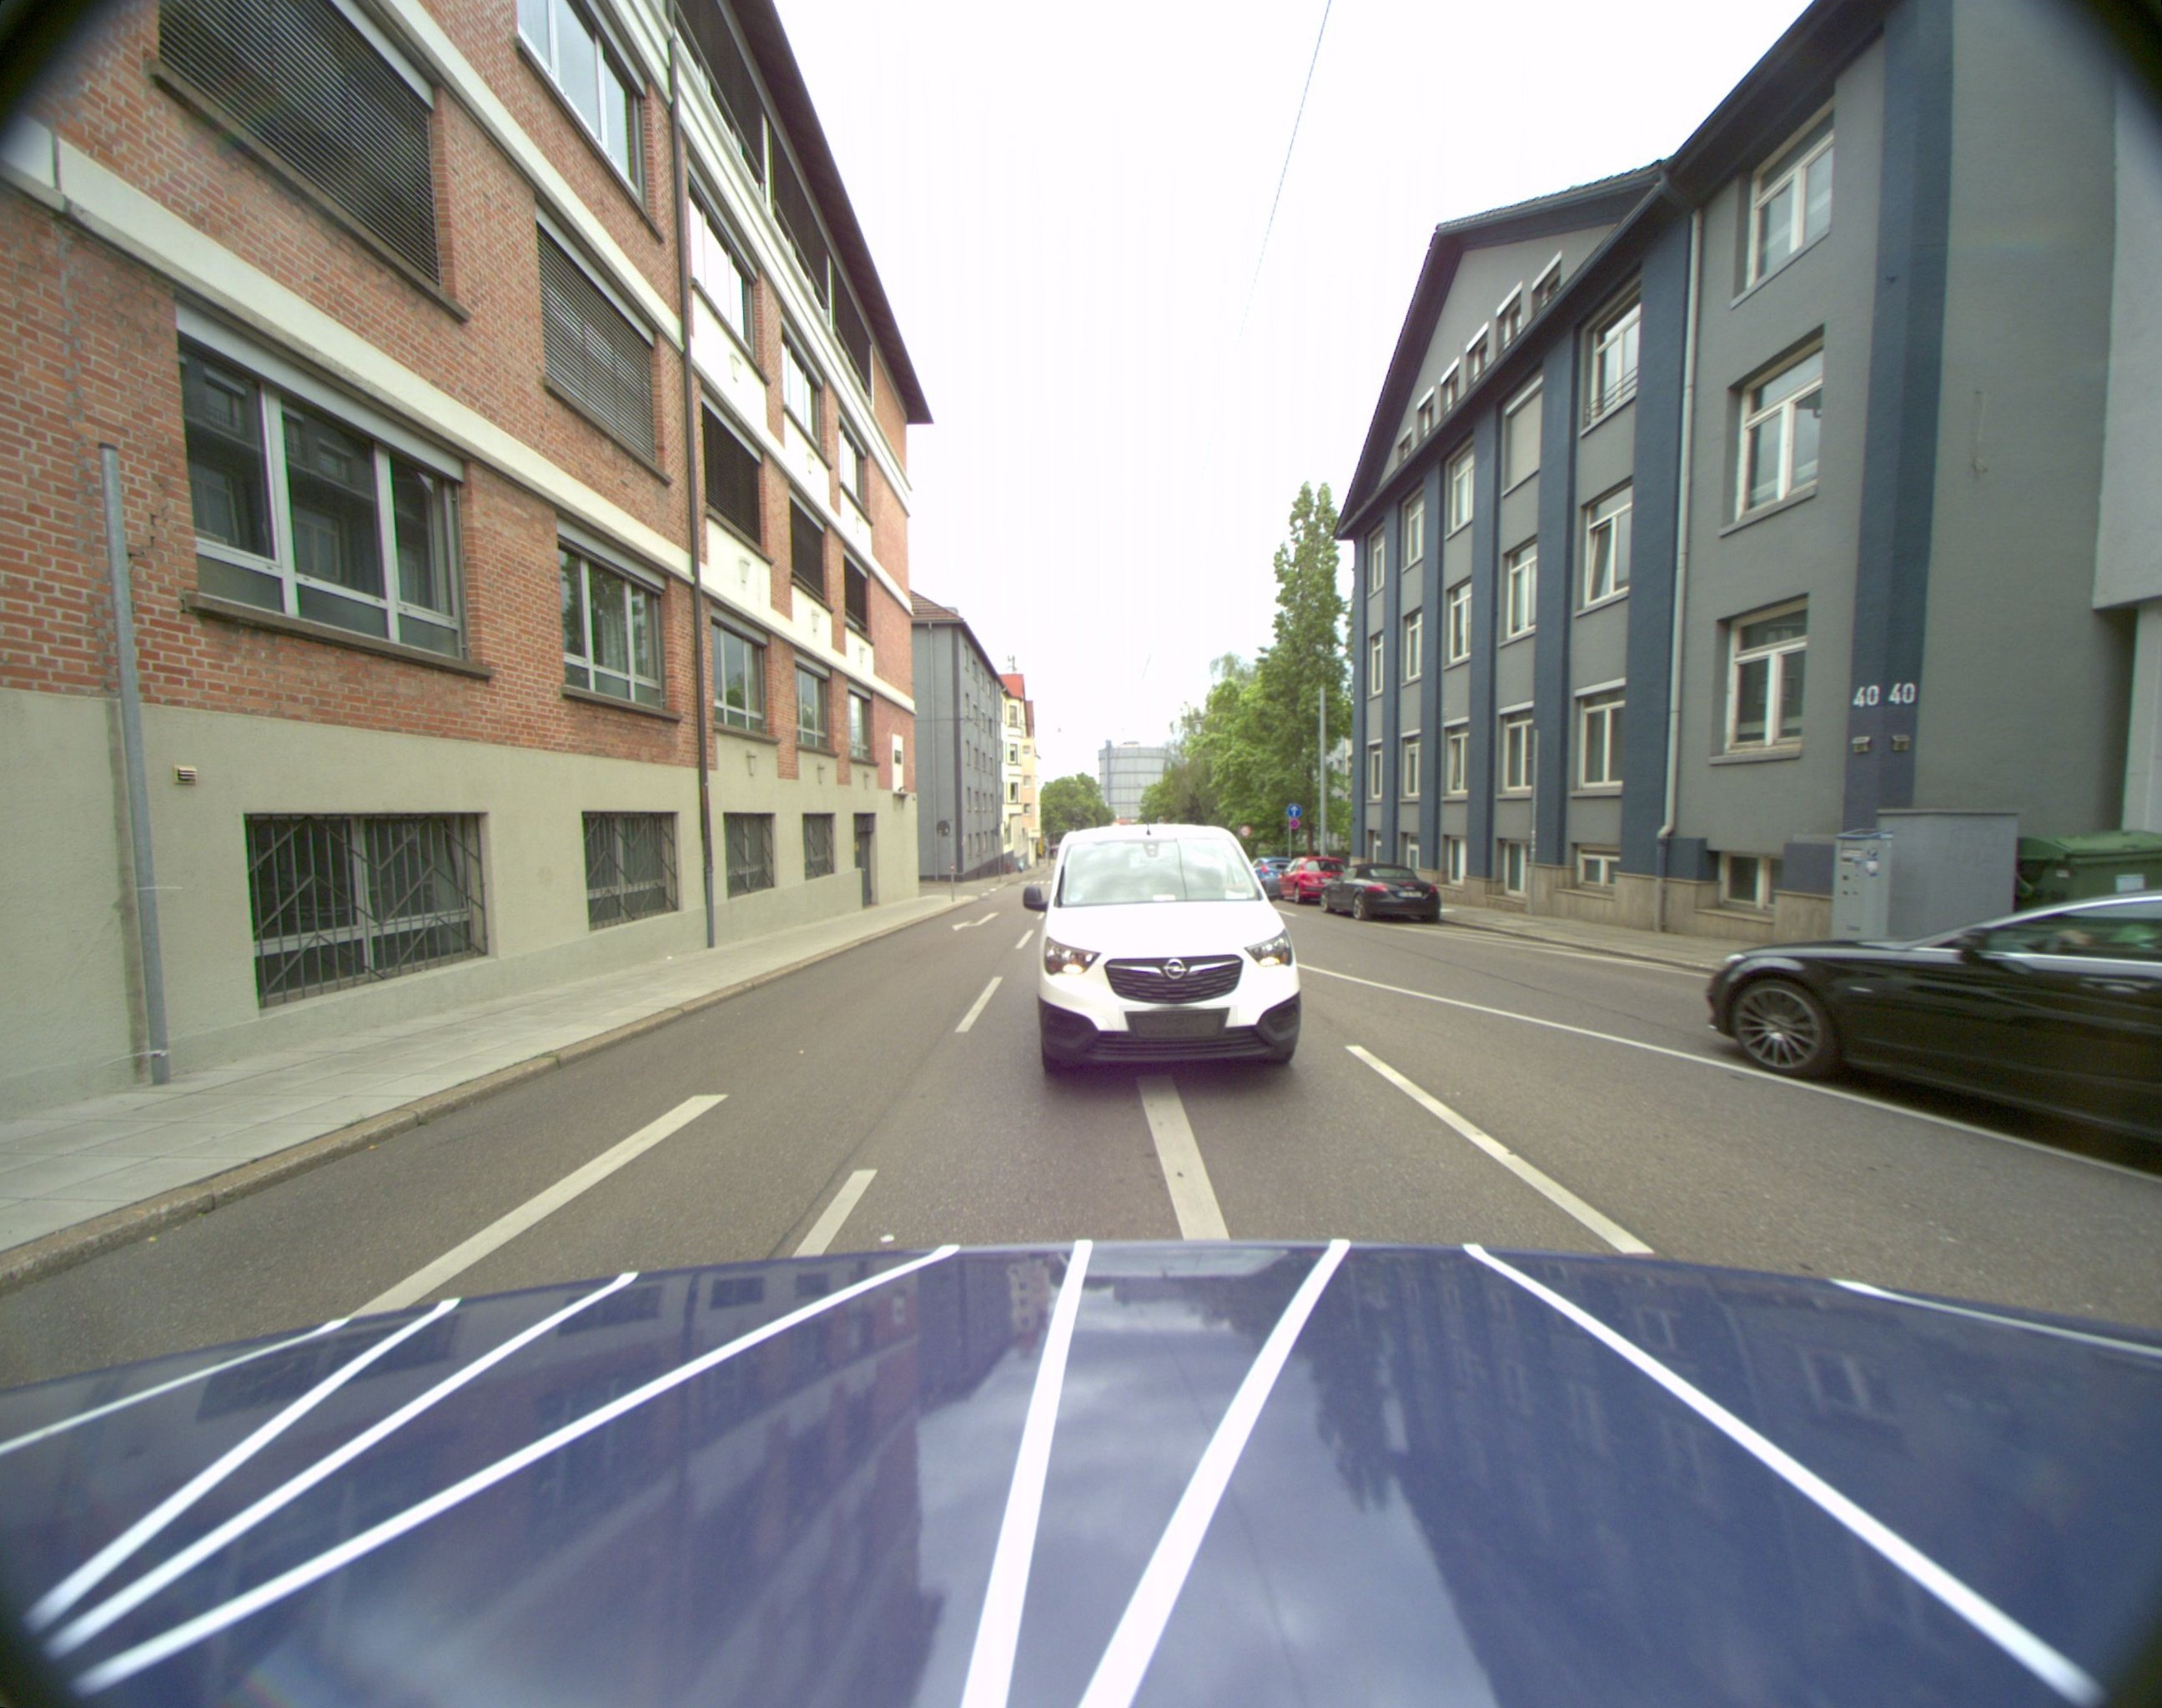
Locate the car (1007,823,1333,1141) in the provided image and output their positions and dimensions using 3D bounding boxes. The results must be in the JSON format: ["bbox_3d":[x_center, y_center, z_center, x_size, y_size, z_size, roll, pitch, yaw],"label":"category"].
[{"bbox_3d":[0.569,0.742,6.917,1.840,1.797,4.939,-2,0,1],"label":"car"}]

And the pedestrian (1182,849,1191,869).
[{"bbox_3d":[9.897,0.446,71.118,0.746,1.839,0.776,-1,1,2],"label":"pedestrian"}]

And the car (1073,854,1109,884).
[{"bbox_3d":[0.545,0.737,39.101,1.724,1.486,3.727,1,0,2],"label":"car"}]

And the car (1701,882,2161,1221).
[{"bbox_3d":[5.721,0.949,3.396,1.791,1.410,4.668,2,0,-5],"label":"car"}]

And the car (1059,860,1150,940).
[{"bbox_3d":[0.511,0.895,16.454,1.724,1.486,3.727,1,0,2],"label":"car"}]

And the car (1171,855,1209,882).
[{"bbox_3d":[6.237,0.796,43.715,1.677,1.392,3.794,2,0,1],"label":"car"}]

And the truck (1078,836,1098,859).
[{"bbox_3d":[1.115,-0.975,122.024,2.980,3.394,9.358,-2,0,1],"label":"truck"}]

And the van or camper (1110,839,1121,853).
[{"bbox_3d":[6.780,-1.579,149.782,1.914,2.754,5.925,1,0,2],"label":"van or camper"}]

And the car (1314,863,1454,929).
[{"bbox_3d":[7.201,0.936,18.518,1.724,1.319,4.041,2,0,-1],"label":"car"}]

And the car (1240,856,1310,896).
[{"bbox_3d":[7.533,0.822,29.834,1.724,1.445,3.727,1,0,0],"label":"car"}]

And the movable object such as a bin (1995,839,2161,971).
[{"bbox_3d":[12.081,0.586,9.092,1.267,1.448,0.784,-3,2,4],"label":"movable object such as a bin"}]

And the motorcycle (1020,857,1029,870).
[{"bbox_3d":[-5.057,0.822,68.427,0.566,1.105,1.653,4,0,2],"label":"motorcycle"}]

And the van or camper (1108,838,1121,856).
[{"bbox_3d":[5.229,-1.041,119.933,1.914,2.754,5.925,1,0,2],"label":"van or camper"}]

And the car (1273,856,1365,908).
[{"bbox_3d":[7.527,0.838,24.369,1.819,1.465,3.869,2,0,2],"label":"car"}]
